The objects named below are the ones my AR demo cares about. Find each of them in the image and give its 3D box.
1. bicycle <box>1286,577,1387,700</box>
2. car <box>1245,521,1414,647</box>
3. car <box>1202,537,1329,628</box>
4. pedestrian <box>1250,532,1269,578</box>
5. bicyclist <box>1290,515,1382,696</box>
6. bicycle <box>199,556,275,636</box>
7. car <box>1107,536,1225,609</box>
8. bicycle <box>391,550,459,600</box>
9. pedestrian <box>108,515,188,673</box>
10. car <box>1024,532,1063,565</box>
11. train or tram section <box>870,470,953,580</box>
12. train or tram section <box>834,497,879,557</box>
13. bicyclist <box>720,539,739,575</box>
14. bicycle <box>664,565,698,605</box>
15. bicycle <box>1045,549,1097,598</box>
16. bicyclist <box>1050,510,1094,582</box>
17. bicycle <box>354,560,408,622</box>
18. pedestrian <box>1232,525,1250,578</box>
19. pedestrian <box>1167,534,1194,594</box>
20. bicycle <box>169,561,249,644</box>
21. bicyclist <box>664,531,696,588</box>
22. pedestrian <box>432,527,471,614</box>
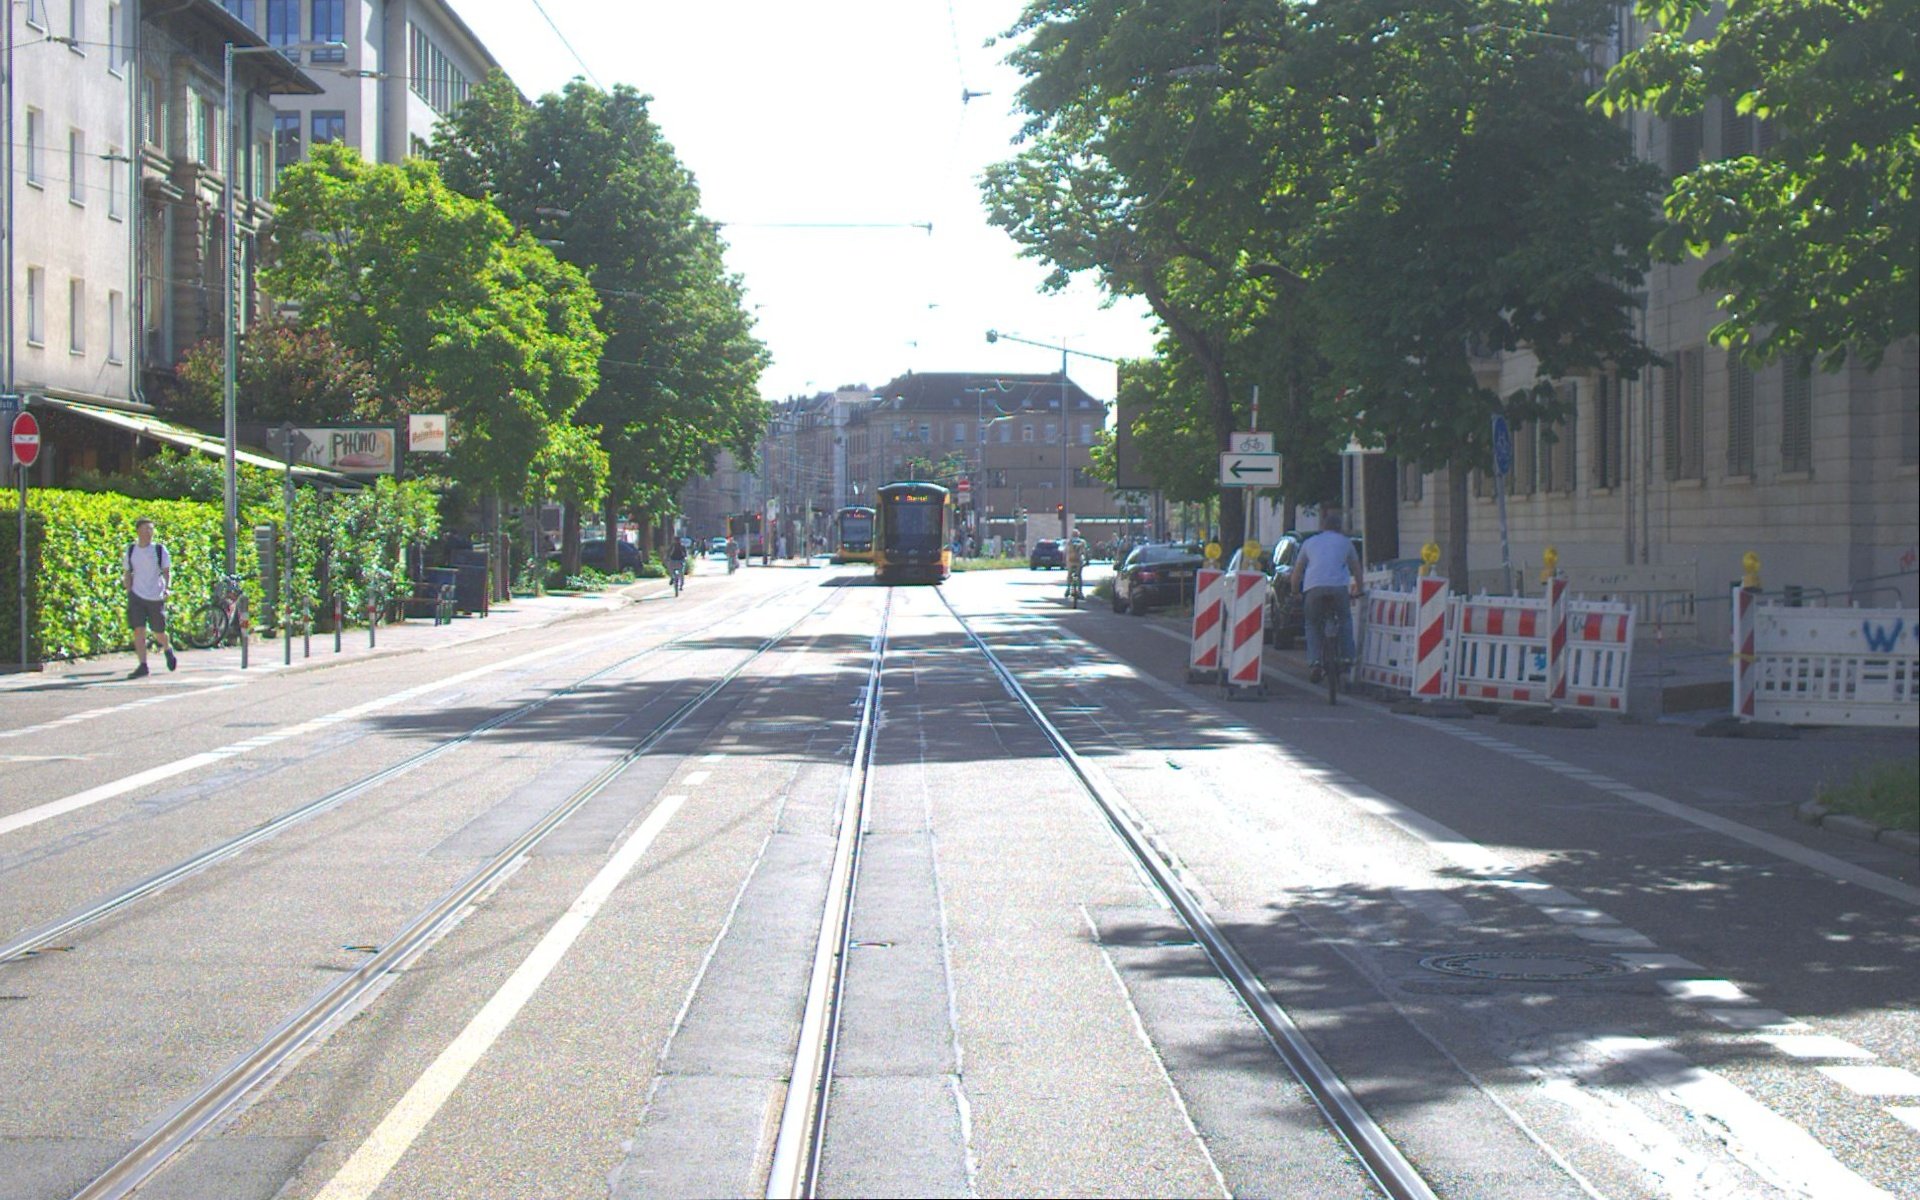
[{"bbox_3d":[3.577,0.352,32.812,0.738,1.090,2.111,2,1,1],"label":"bicycle"},{"bbox_3d":[5.125,-0.255,48.245,1.810,1.620,4.584,-2,1,0],"label":"car"},{"bbox_3d":[4.973,-0.314,56.434,1.724,1.377,4.356,-2,1,1],"label":"car"},{"bbox_3d":[9.033,-1.354,103.670,0.518,1.399,0.764,0,1,2],"label":"pedestrian"},{"bbox_3d":[3.584,0.046,32.794,0.738,1.680,0.972,2,1,1],"label":"bicyclist"},{"bbox_3d":[-10.371,-0.059,49.366,0.661,1.086,1.840,3,0,0],"label":"bicycle"},{"bbox_3d":[4.313,-0.607,72.709,1.821,1.453,4.819,-2,1,-4],"label":"car"},{"bbox_3d":[-11.295,-0.542,72.643,0.637,1.042,2.020,1,1,16],"label":"bicycle"},{"bbox_3d":[-9.153,-0.075,38.759,0.691,1.762,0.866,0,1,0],"label":"pedestrian"},{"bbox_3d":[4.211,-2.623,173.491,1.789,1.599,3.712,2,1,3],"label":"car"},{"bbox_3d":[-1.796,-2.669,121.374,2.742,3.639,13.787,0,1,-2],"label":"train or tram section"},{"bbox_3d":[-6.478,-4.609,215.542,2.742,3.639,13.787,0,1,-2],"label":"train or tram section"},{"bbox_3d":[-10.670,-1.981,159.236,0.687,1.639,1.237,-2,1,3],"label":"bicyclist"},{"bbox_3d":[-7.996,-0.435,98.625,0.745,1.078,1.899,-3,1,0],"label":"bicycle"},{"bbox_3d":[2.611,-0.628,80.631,0.705,1.101,1.715,2,2,19],"label":"bicycle"},{"bbox_3d":[2.631,-1.270,80.614,0.705,1.669,1.100,2,2,19],"label":"bicyclist"},{"bbox_3d":[-10.401,-0.165,61.820,0.638,1.055,1.743,3,1,0],"label":"bicycle"},{"bbox_3d":[8.478,-1.459,103.719,0.518,1.595,0.764,0,1,2],"label":"pedestrian"},{"bbox_3d":[6.849,-1.120,106.830,0.683,1.843,0.955,-1,1,-2],"label":"pedestrian"},{"bbox_3d":[-10.331,0.026,47.344,0.661,1.086,1.840,3,0,0],"label":"bicycle"},{"bbox_3d":[-8.031,-1.158,98.615,0.745,1.594,1.118,-3,1,0],"label":"bicyclist"},{"bbox_3d":[-10.730,-0.634,72.566,0.576,1.825,0.689,1,1,18],"label":"pedestrian"}]
